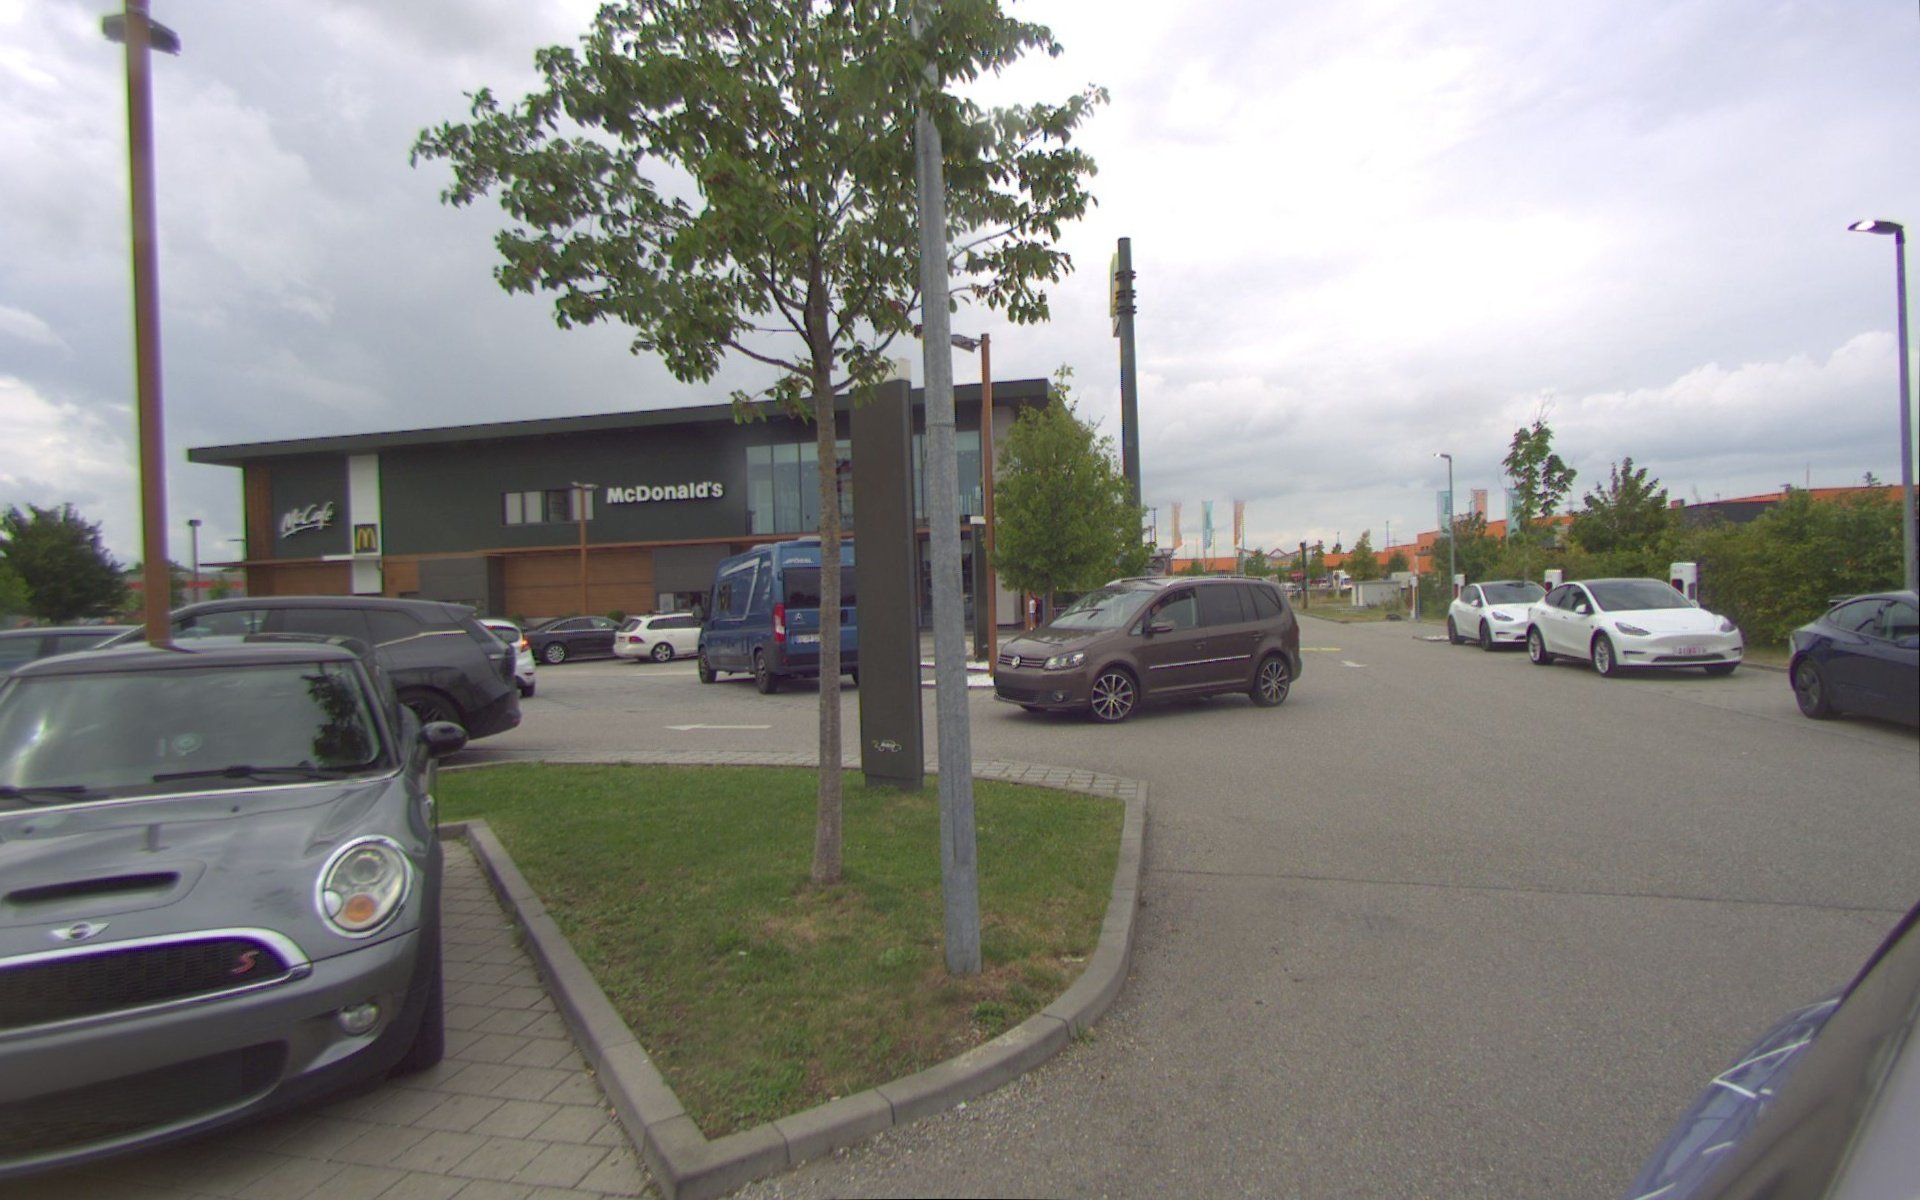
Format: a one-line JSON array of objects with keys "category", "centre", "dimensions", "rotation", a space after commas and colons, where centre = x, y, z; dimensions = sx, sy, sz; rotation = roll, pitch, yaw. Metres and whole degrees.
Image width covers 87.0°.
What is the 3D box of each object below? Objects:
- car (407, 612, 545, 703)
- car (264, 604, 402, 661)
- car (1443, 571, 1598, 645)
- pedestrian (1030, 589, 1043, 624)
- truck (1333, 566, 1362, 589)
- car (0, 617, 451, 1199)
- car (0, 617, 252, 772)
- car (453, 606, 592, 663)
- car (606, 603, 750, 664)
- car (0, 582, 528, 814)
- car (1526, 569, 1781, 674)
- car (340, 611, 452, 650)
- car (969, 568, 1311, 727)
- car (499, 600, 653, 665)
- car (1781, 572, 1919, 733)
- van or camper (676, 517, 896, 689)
[{"category": "car", "centre": [-9.161, 1.008, 19.030], "dimensions": [1.808, 1.472, 3.573], "rotation": [-1, -1, -34]}, {"category": "car", "centre": [-21.608, 1.069, 34.983], "dimensions": [3.922, 1.771, 2.001], "rotation": [-1, 1, -33]}, {"category": "car", "centre": [13.664, 0.122, 25.040], "dimensions": [2.042, 1.622, 4.926], "rotation": [-2, 1, 13]}, {"category": "pedestrian", "centre": [2.981, 0.240, 39.257], "dimensions": [0.427, 1.327, 0.478], "rotation": [0, 1, 15]}, {"category": "truck", "centre": [42.701, -2.441, 111.595], "dimensions": [2.116, 2.479, 5.440], "rotation": [0, 1, 12]}, {"category": "car", "centre": [-2.904, 0.833, 3.967], "dimensions": [1.577, 1.393, 3.532], "rotation": [-1, 1, -27]}, {"category": "car", "centre": [-9.884, 0.981, 10.568], "dimensions": [3.930, 1.430, 1.830], "rotation": [-2, -1, -40]}, {"category": "car", "centre": [-14.534, 1.097, 33.668], "dimensions": [4.013, 1.593, 1.839], "rotation": [-2, 1, -31]}, {"category": "car", "centre": [-8.765, 0.988, 31.498], "dimensions": [3.924, 1.504, 1.791], "rotation": [-4, 3, -33]}, {"category": "car", "centre": [-6.753, 0.739, 9.370], "dimensions": [4.802, 1.749, 2.001], "rotation": [-1, 1, -33]}, {"category": "car", "centre": [11.958, 0.312, 17.891], "dimensions": [2.040, 1.573, 4.463], "rotation": [-2, 0, 11]}, {"category": "car", "centre": [-23.832, 1.260, 42.803], "dimensions": [3.939, 1.524, 1.782], "rotation": [0, 1, 13]}, {"category": "car", "centre": [2.334, 0.469, 12.773], "dimensions": [4.109, 1.711, 1.812], "rotation": [-1, 1, -32]}, {"category": "car", "centre": [-12.184, 0.977, 32.231], "dimensions": [4.182, 1.682, 1.898], "rotation": [-4, 3, -37]}, {"category": "car", "centre": [9.999, 0.482, 9.563], "dimensions": [1.808, 1.477, 4.435], "rotation": [-2, 1, 16]}, {"category": "van or camper", "centre": [-3.604, 0.123, 19.452], "dimensions": [2.129, 2.735, 6.580], "rotation": [-1, -1, -28]}]
